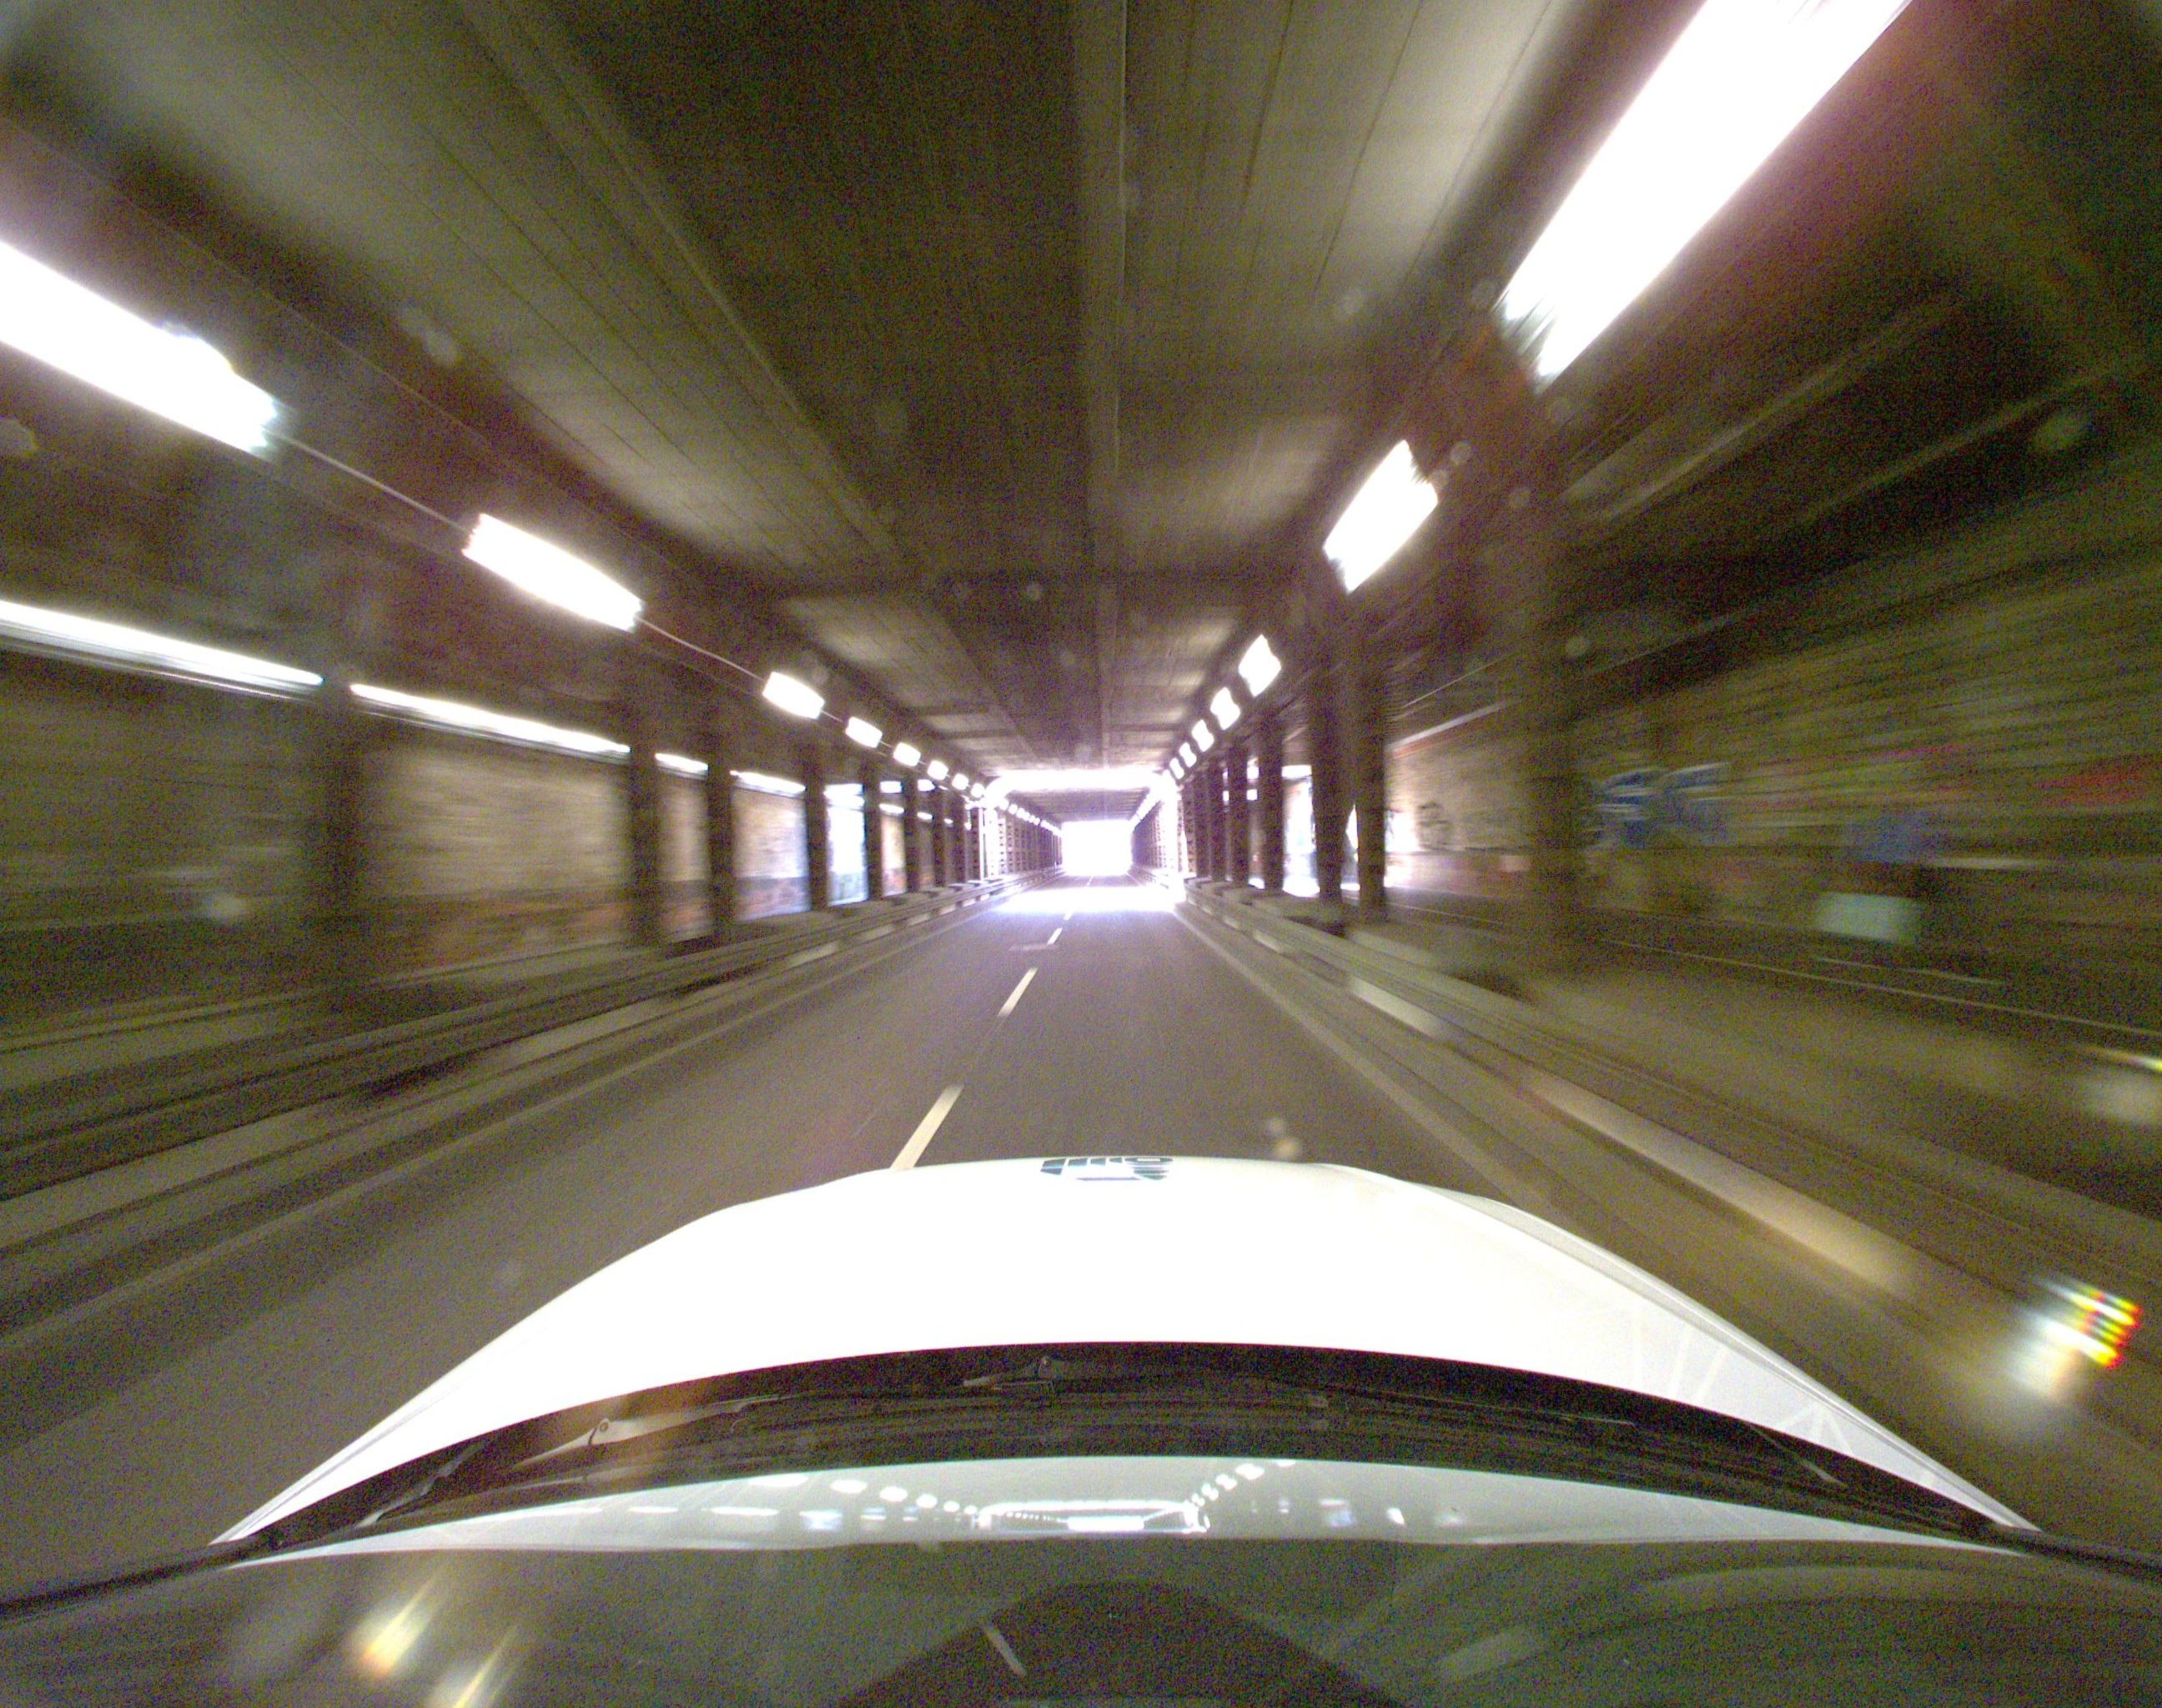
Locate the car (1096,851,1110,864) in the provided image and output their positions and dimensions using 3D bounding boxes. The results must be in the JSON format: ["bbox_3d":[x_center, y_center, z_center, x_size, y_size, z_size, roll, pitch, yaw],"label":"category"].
[{"bbox_3d":[3.346,0.491,123.612,1.986,1.784,4.002,-3,0,2],"label":"car"}]

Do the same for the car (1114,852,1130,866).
[{"bbox_3d":[5.382,0.615,106.960,1.986,1.784,4.002,-3,0,2],"label":"car"}]

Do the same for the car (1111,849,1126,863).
[{"bbox_3d":[5.386,0.278,117.016,1.986,1.784,4.002,-3,0,2],"label":"car"}]

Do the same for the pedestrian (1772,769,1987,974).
[{"bbox_3d":[7.281,0.151,7.500,0.797,1.701,1.111,-3,0,1],"label":"pedestrian"}]
